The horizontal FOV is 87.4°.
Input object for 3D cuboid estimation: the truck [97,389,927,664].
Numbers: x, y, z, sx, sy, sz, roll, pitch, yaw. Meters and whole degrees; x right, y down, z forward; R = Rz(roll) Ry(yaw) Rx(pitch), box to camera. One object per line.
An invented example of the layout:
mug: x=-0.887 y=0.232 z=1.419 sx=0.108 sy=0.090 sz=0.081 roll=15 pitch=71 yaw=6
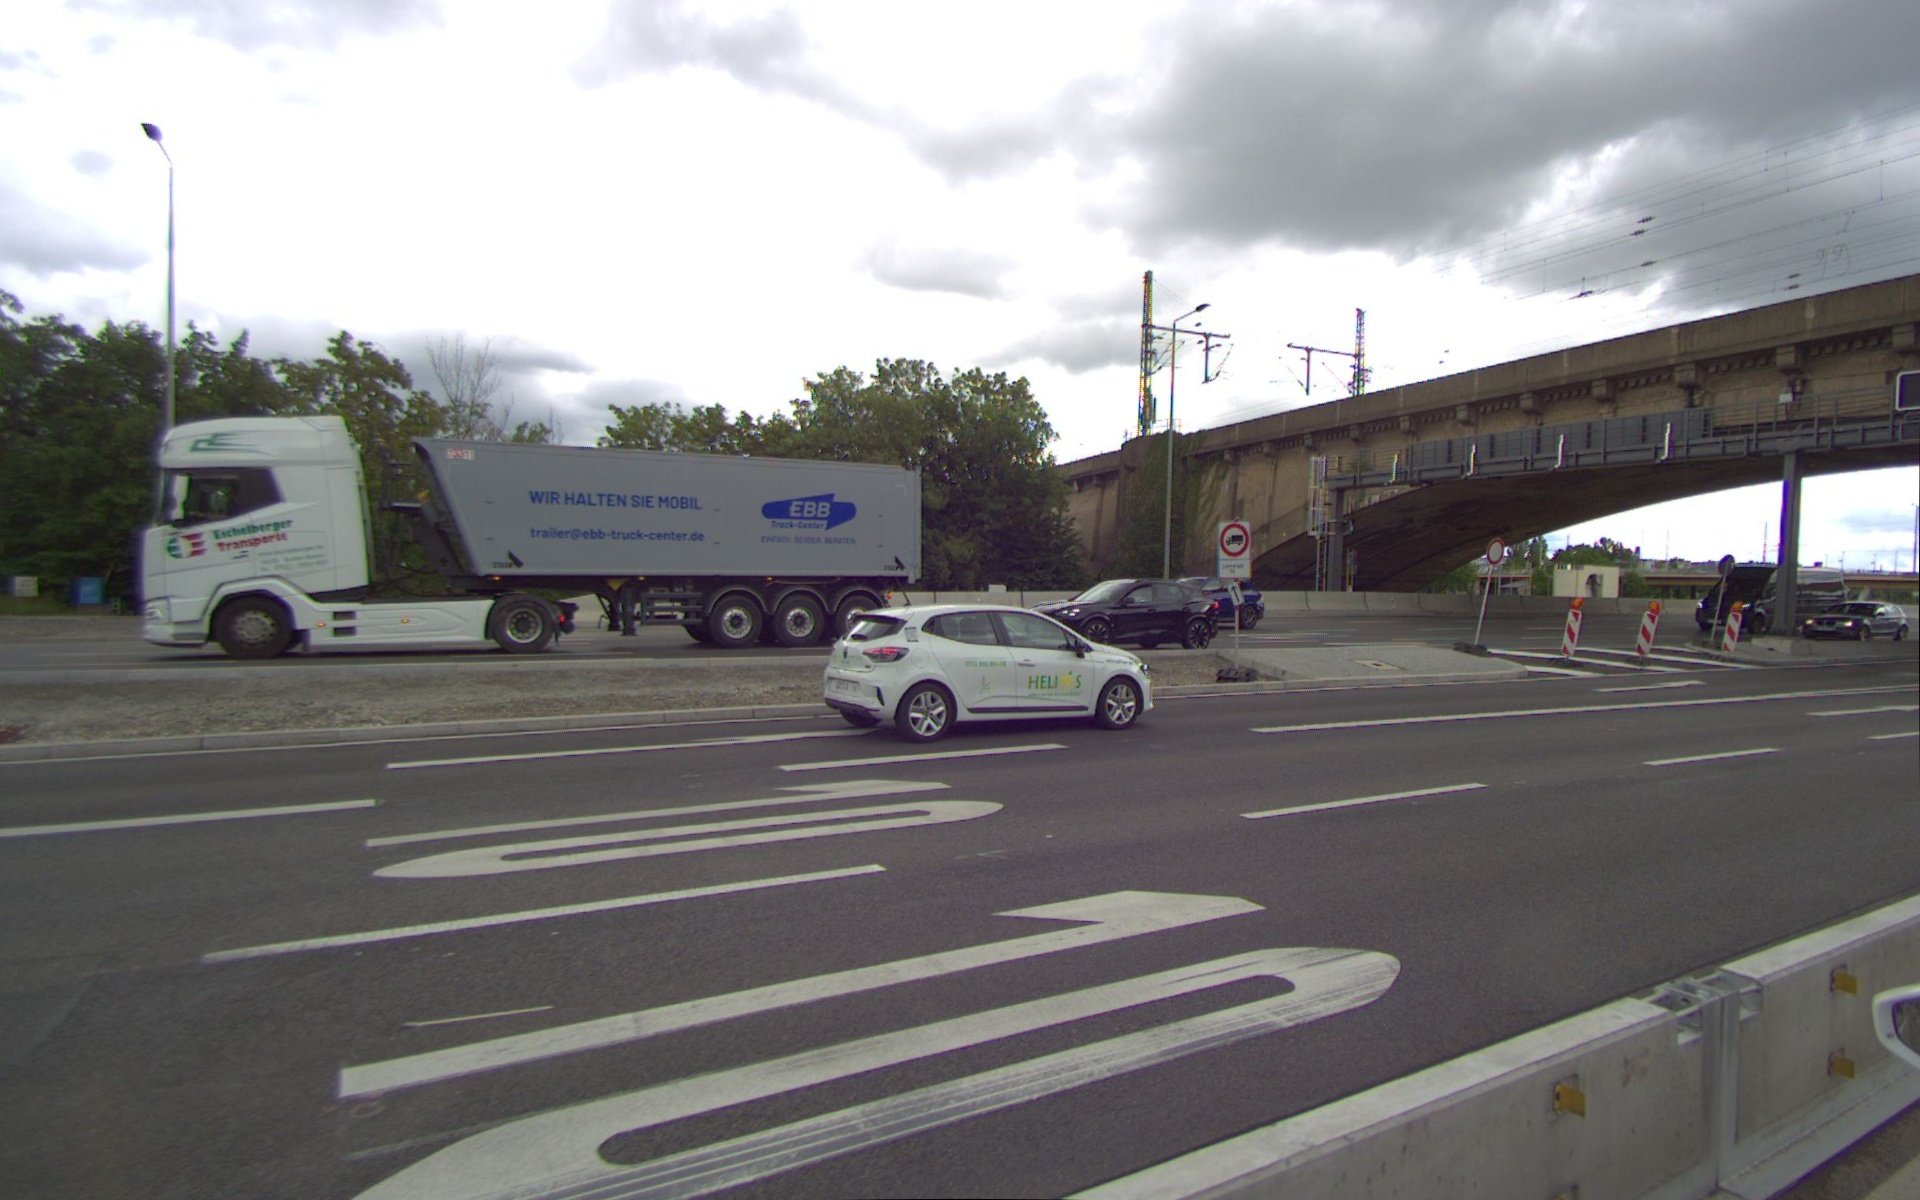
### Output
truck: x=-7.465 y=-1.140 z=19.601 sx=13.812 sy=4.116 sz=2.887 roll=0 pitch=2 yaw=-28

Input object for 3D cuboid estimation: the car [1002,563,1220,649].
car: x=3.189 y=0.160 z=20.969 sx=4.398 sy=1.642 sz=1.698 roll=1 pitch=-2 yaw=-29

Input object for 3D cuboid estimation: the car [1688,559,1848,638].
car: x=32.347 y=-0.005 z=40.193 sx=6.053 sy=2.813 sz=2.212 roll=2 pitch=-1 yaw=-21

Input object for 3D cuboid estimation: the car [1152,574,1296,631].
car: x=8.438 y=0.069 z=32.024 sx=4.436 sy=1.706 sz=1.876 roll=0 pitch=1 yaw=-31

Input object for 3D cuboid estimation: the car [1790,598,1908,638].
car: x=32.131 y=0.664 z=36.300 sx=4.204 sy=1.349 sz=1.878 roll=2 pitch=-1 yaw=-29

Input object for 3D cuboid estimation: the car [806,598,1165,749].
car: x=0.349 y=0.728 z=11.656 sx=3.949 sy=1.504 sz=1.569 roll=0 pitch=0 yaw=-30
